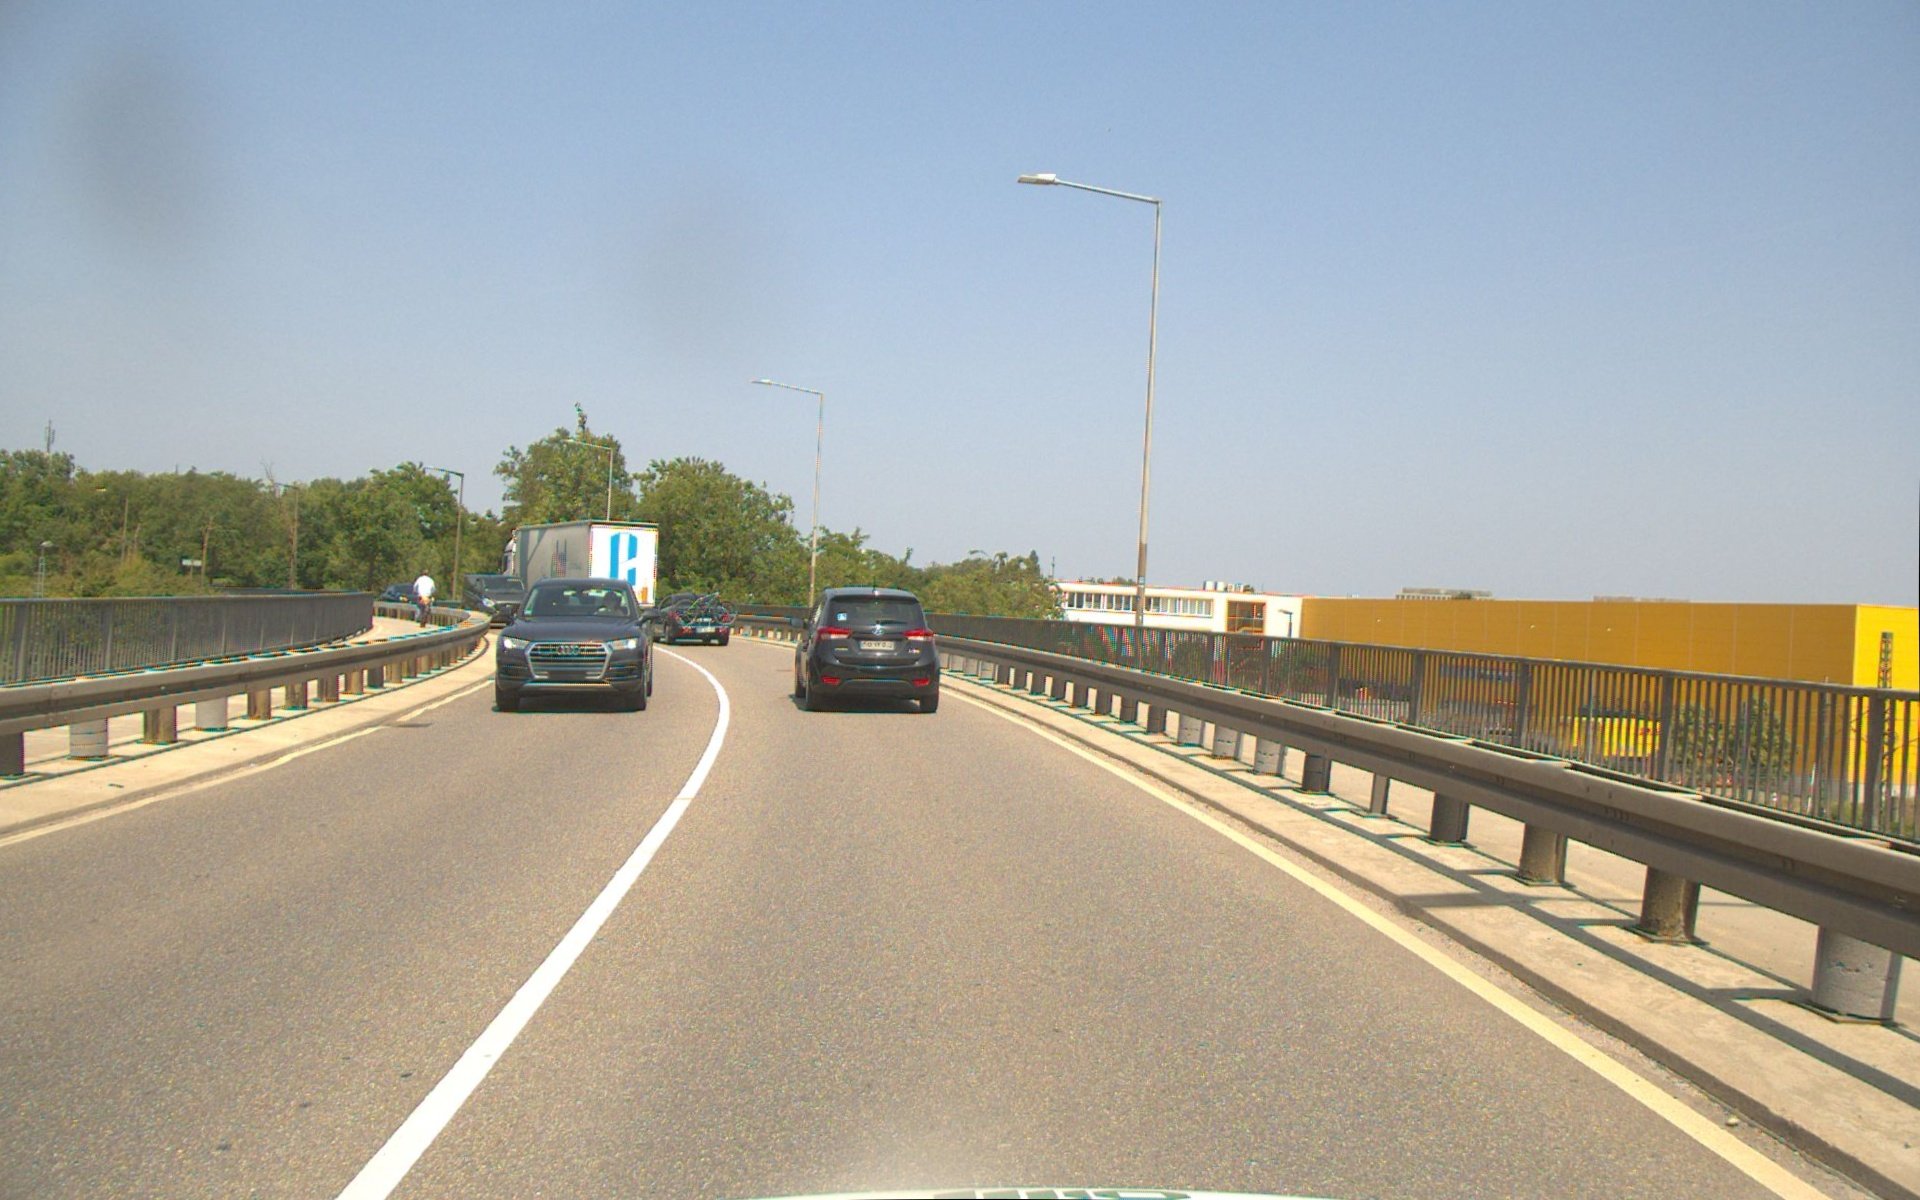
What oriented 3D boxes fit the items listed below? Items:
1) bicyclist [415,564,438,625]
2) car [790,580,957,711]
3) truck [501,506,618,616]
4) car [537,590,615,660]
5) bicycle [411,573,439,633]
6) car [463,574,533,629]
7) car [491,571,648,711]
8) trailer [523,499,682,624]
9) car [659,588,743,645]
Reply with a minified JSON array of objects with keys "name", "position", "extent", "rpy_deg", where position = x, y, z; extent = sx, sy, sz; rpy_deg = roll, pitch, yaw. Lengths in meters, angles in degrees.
[{"name":"bicyclist","position":[-16.832,-0.176,52.175],"extent":[0.615,1.919,0.707],"rpy_deg":[1,0,-22]},{"name":"car","position":[-1.284,0.563,22.795],"extent":[1.886,1.601,3.884],"rpy_deg":[2,1,-9]},{"name":"truck","position":[-17.506,-1.674,71.979],"extent":[3.530,4.518,6.459],"rpy_deg":[1,1,-27]},{"name":"car","position":[-9.015,0.560,39.000],"extent":[1.635,1.489,3.477],"rpy_deg":[1,1,-11]},{"name":"bicycle","position":[-16.926,0.065,52.311],"extent":[0.688,1.833,2.167],"rpy_deg":[1,1,-21]},{"name":"car","position":[-17.734,0.077,63.320],"extent":[1.979,1.993,5.234],"rpy_deg":[1,0,-22]},{"name":"car","position":[-5.065,0.461,21.899],"extent":[1.808,1.664,4.222],"rpy_deg":[0,1,-11]},{"name":"trailer","position":[-14.414,-1.513,65.737],"extent":[3.526,4.460,11.346],"rpy_deg":[1,1,-26]},{"name":"car","position":[-7.273,0.426,46.210],"extent":[1.977,1.454,3.763],"rpy_deg":[1,1,-14]}]
